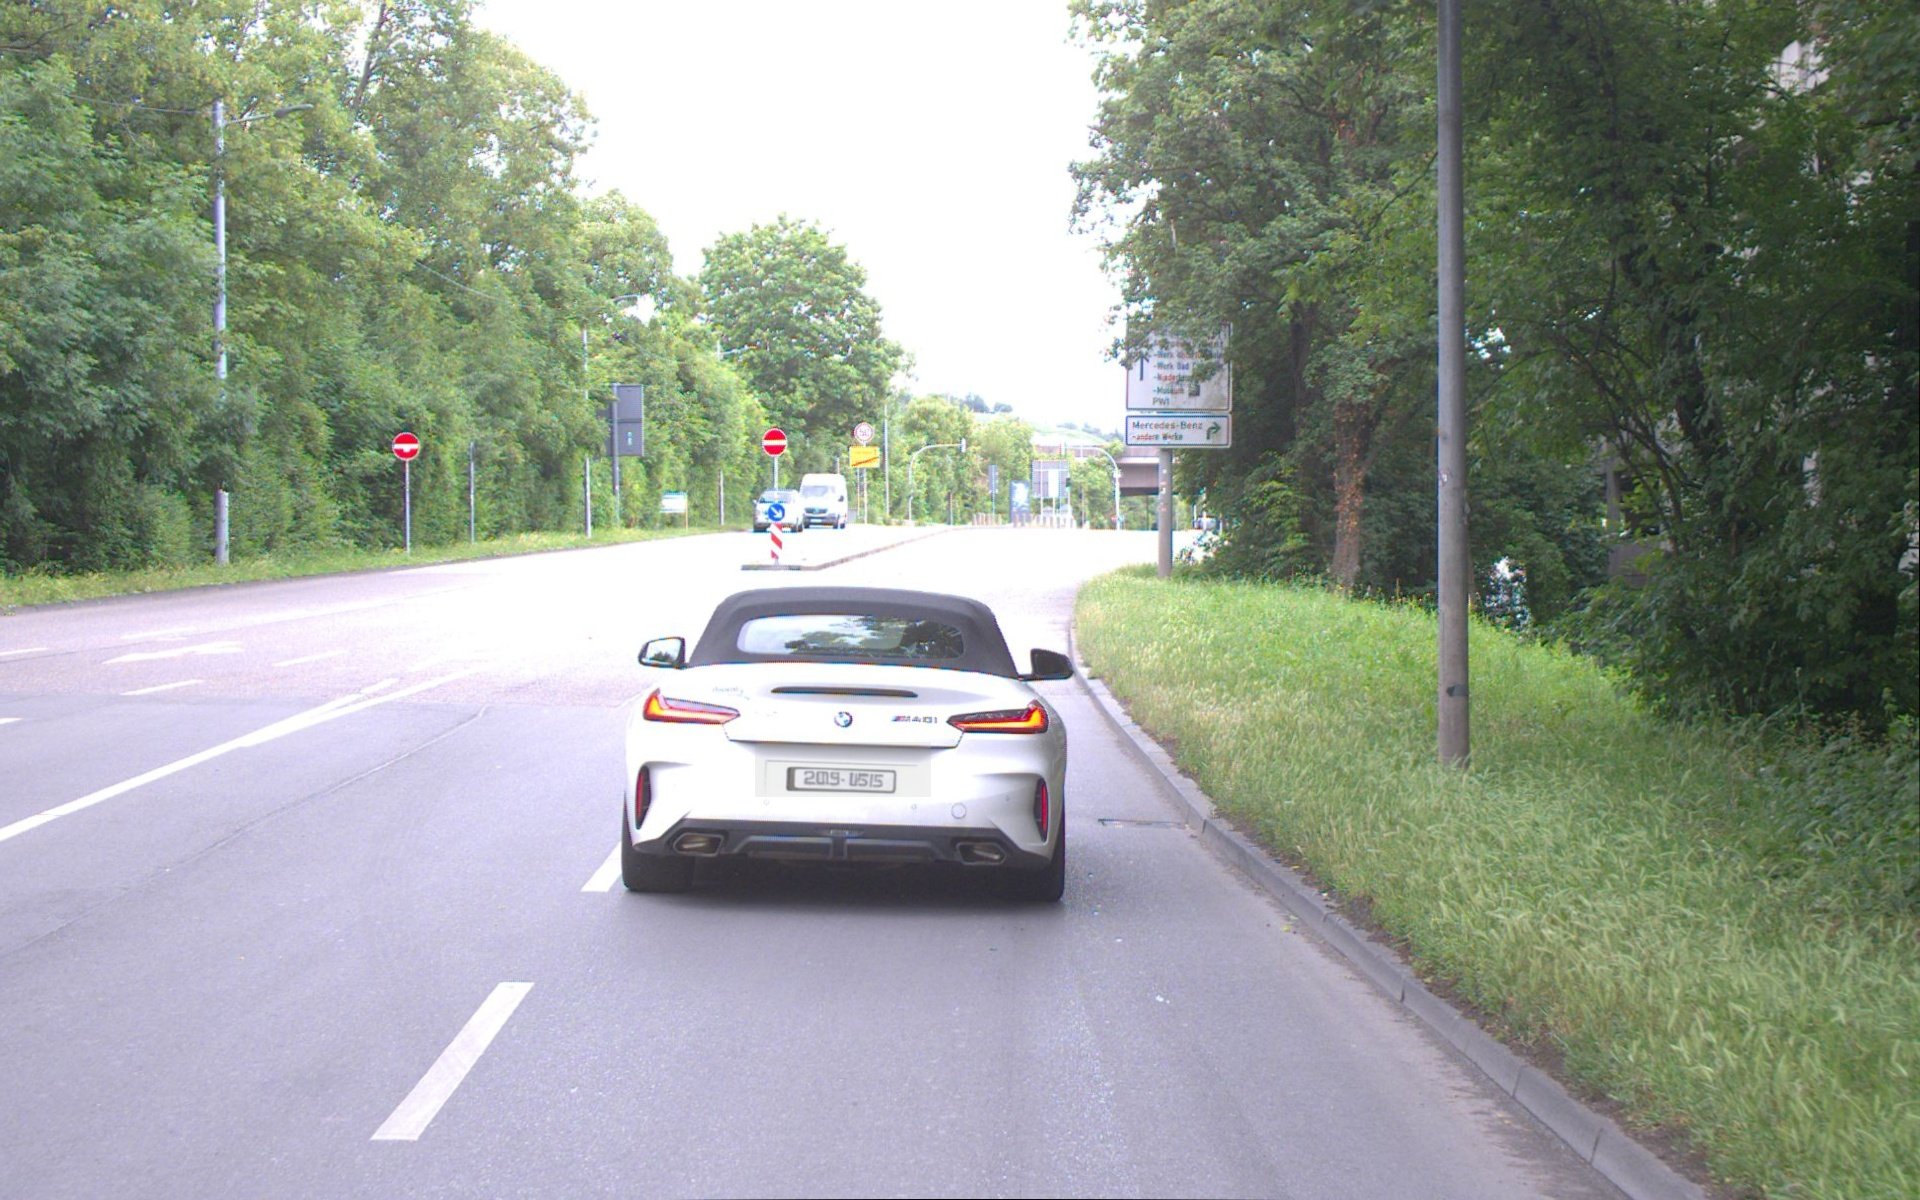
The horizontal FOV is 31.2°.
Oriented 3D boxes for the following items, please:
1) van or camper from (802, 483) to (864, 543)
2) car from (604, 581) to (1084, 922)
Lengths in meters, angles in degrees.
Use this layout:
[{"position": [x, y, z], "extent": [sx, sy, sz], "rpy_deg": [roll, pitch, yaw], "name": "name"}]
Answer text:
[{"position": [-5.963, -4.145, 162.503], "extent": [2.283, 2.546, 6.860], "rpy_deg": [4, 3, 2], "name": "van or camper"}, {"position": [-0.498, 0.587, 15.497], "extent": [1.875, 1.305, 3.873], "rpy_deg": [1, 1, -1], "name": "car"}]
